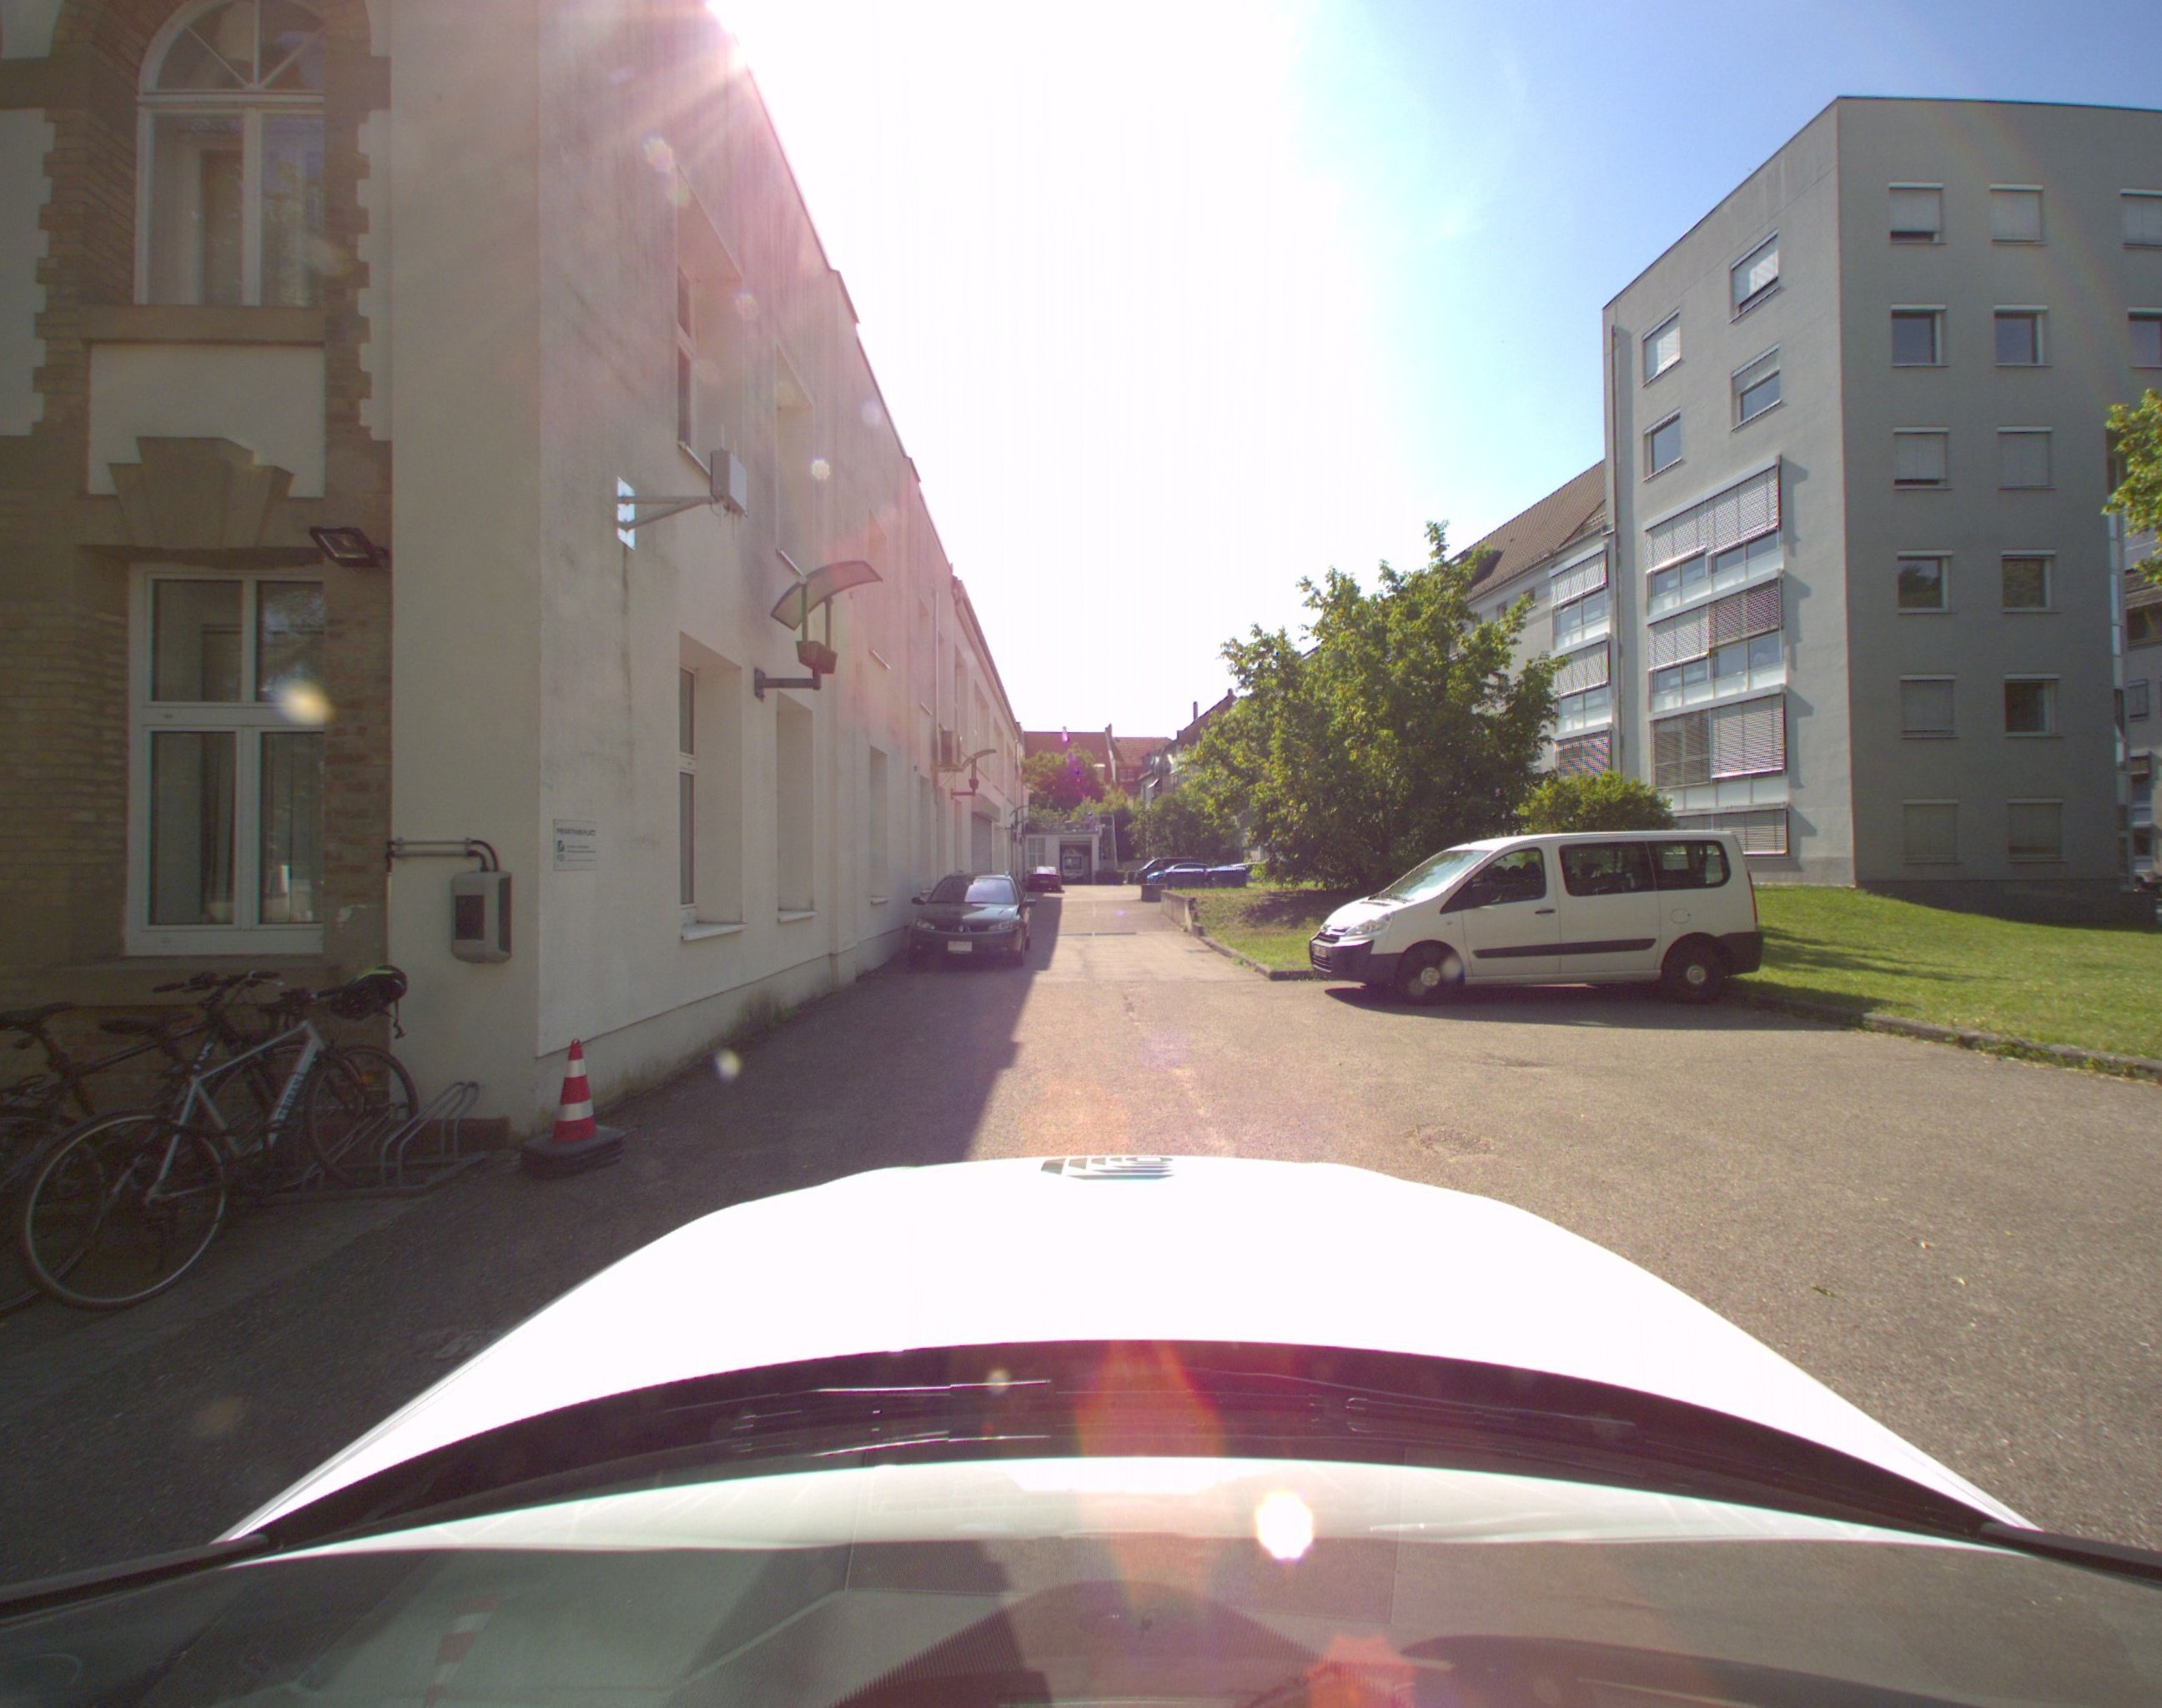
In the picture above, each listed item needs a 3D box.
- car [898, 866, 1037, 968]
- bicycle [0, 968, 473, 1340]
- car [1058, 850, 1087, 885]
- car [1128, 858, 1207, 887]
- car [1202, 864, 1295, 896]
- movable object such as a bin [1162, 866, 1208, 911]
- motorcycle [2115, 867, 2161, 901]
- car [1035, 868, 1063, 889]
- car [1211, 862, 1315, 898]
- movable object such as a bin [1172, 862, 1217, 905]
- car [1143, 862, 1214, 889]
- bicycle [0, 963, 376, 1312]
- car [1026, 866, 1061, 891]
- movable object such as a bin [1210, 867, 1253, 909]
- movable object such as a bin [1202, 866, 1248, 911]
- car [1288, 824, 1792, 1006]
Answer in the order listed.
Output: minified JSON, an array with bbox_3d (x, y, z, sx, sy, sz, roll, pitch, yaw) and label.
[{"bbox_3d":[-1.758,1.002,13.988,1.832,1.442,4.426,1,-2,-1],"label":"car"},{"bbox_3d":[-3.401,1.093,3.443,0.443,0.992,1.542,-2,0,2],"label":"bicycle"},{"bbox_3d":[-0.651,1.075,65.528,2.168,2.607,6.731,-2,-1,-1],"label":"car"},{"bbox_3d":[5.959,1.257,56.129,4.958,1.767,2.087,-2,0,-14],"label":"car"},{"bbox_3d":[7.836,1.213,38.345,3.976,1.394,1.688,-1,-1,-2],"label":"car"},{"bbox_3d":[3.226,1.065,25.454,1.243,1.319,1.142,-3,-2,1],"label":"movable object such as a bin"},{"bbox_3d":[40.553,1.144,30.802,2.049,1.246,0.630,-1,-1,0],"label":"motorcycle"},{"bbox_3d":[-2.045,1.568,52.721,1.609,1.295,3.757,-1,-1,-1],"label":"car"},{"bbox_3d":[7.756,1.096,34.950,3.979,1.427,1.809,-1,-1,-4],"label":"car"},{"bbox_3d":[3.762,0.963,27.156,1.245,1.355,1.127,-1,-1,-4],"label":"movable object such as a bin"},{"bbox_3d":[6.294,1.385,52.884,4.222,1.532,1.997,-2,0,-5],"label":"car"},{"bbox_3d":[-3.885,1.063,3.374,0.443,0.992,1.631,-2,0,2],"label":"bicycle"},{"bbox_3d":[-2.058,1.354,45.663,1.847,1.319,3.997,1,-1,-2],"label":"car"},{"bbox_3d":[5.023,1.114,27.299,1.153,1.336,1.140,-1,-1,-4],"label":"movable object such as a bin"},{"bbox_3d":[4.493,1.070,25.498,1.242,1.340,1.143,-1,-1,2],"label":"movable object such as a bin"},{"bbox_3d":[5.270,0.667,9.891,5.007,1.933,2.000,-1,-1,0],"label":"car"}]
